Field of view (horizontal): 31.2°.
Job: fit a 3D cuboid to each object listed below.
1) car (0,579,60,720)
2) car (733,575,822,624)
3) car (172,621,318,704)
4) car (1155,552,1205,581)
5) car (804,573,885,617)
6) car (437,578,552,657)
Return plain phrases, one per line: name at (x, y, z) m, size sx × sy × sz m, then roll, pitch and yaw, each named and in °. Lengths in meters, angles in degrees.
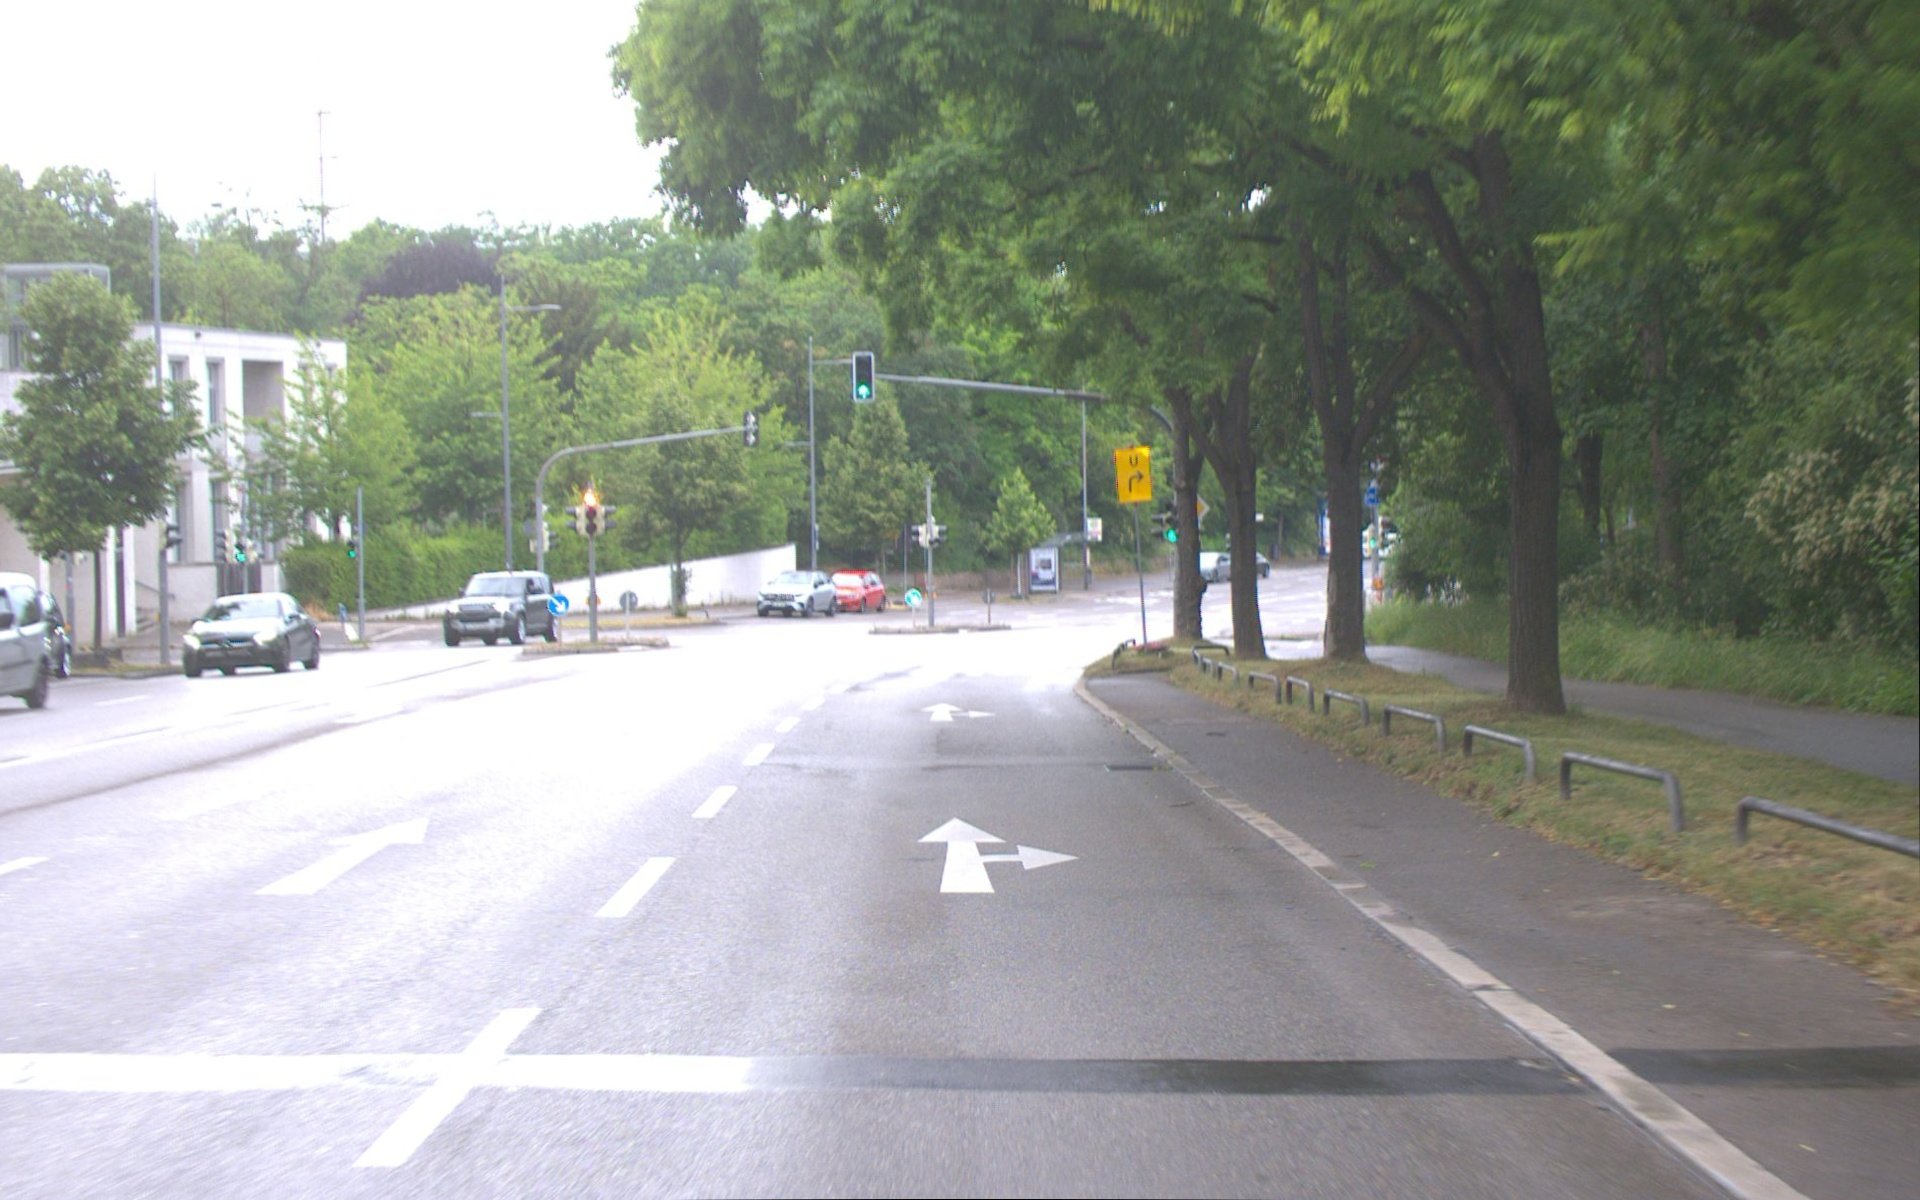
car at (-12.722, 0.609, 43.316) m, size 1.710 × 1.740 × 4.338 m, roll 0°, pitch 0°, yaw -1°
car at (-6.547, -0.034, 123.636) m, size 1.854 × 1.634 × 4.090 m, roll 3°, pitch 1°, yaw 16°
car at (-12.870, 1.104, 62.100) m, size 1.770 × 1.376 × 4.190 m, roll -2°, pitch 0°, yaw -1°
car at (11.705, -1.782, 182.849) m, size 1.714 × 1.456 × 3.747 m, roll 1°, pitch 0°, yaw 18°
car at (-4.376, -0.196, 131.029) m, size 1.876 × 1.569 × 4.220 m, roll 2°, pitch 1°, yaw 15°
car at (-11.974, 0.435, 88.707) m, size 1.921 × 1.851 × 4.505 m, roll -4°, pitch 0°, yaw 4°
